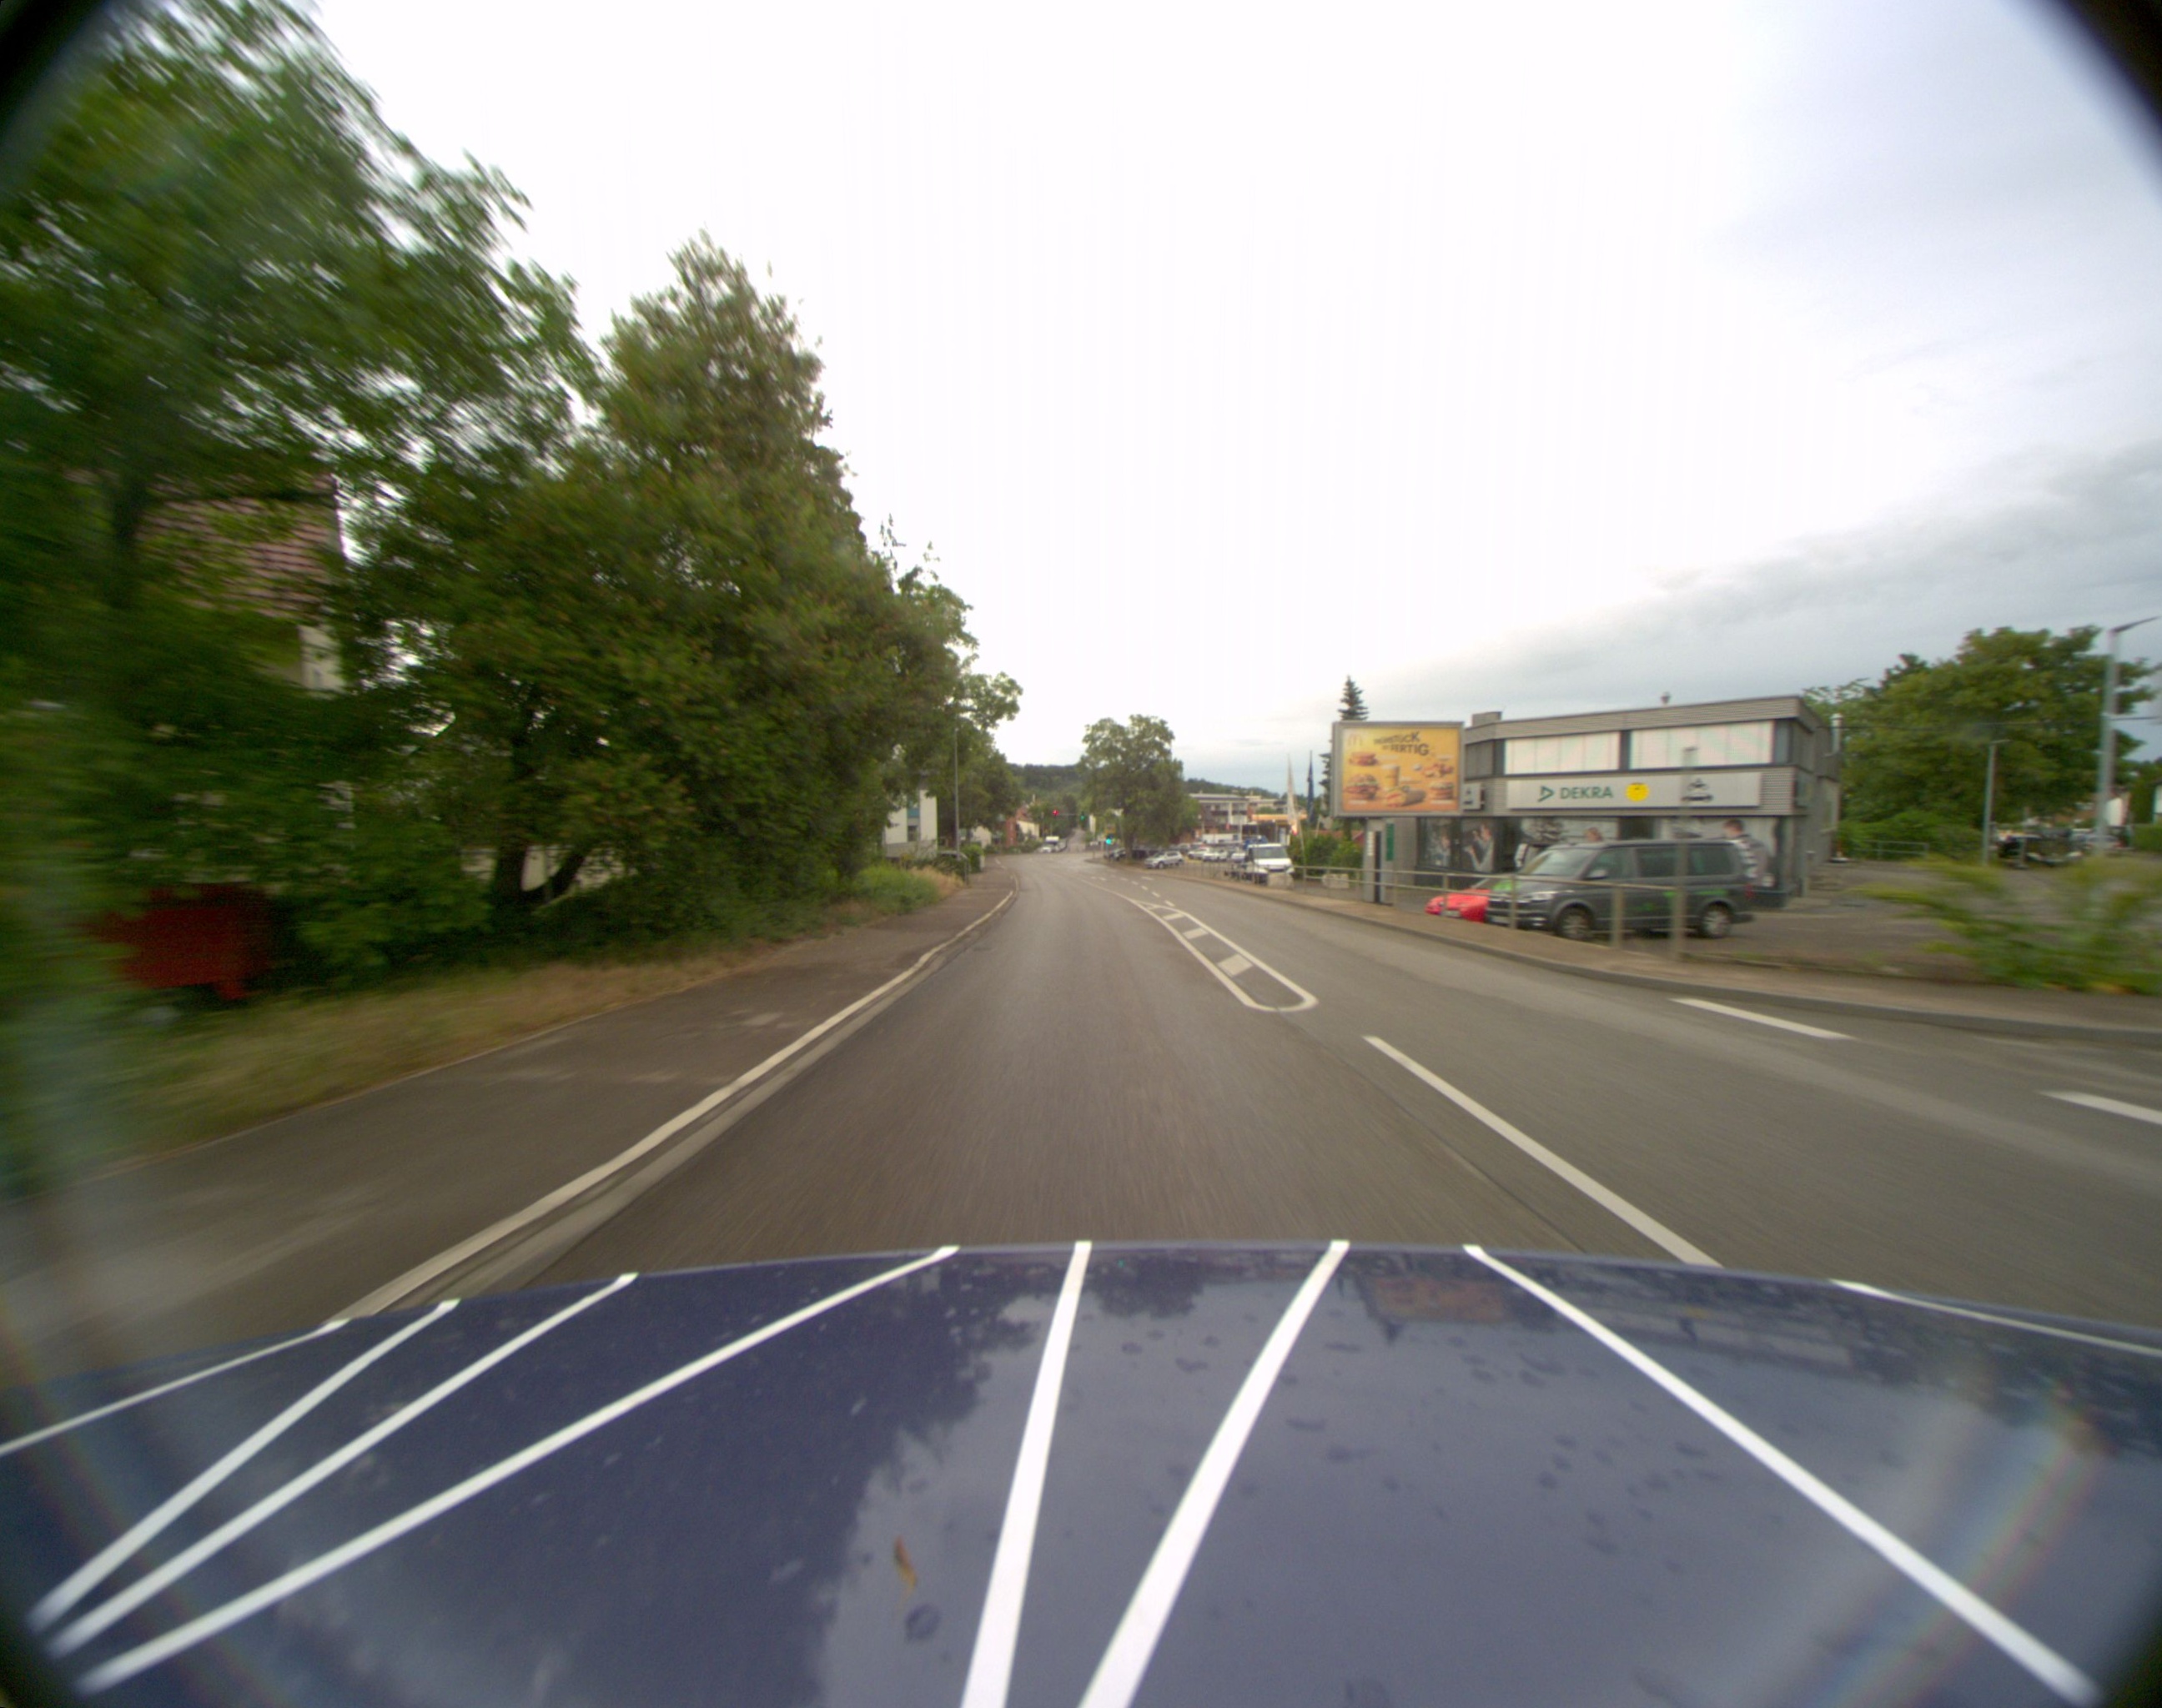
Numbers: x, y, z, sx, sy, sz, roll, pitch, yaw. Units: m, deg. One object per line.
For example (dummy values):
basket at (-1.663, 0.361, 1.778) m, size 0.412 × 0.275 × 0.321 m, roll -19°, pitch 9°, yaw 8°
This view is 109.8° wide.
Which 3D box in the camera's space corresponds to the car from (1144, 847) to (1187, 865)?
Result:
car at (8.142, 0.194, 73.396) m, size 4.015 × 1.561 × 1.716 m, roll -3°, pitch 2°, yaw -37°

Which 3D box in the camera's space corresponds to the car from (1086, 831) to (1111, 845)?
car at (2.963, -2.716, 130.034) m, size 1.774 × 2.094 × 4.370 m, roll -3°, pitch 6°, yaw -37°

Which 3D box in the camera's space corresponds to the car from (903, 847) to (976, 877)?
car at (-8.688, 0.462, 46.934) m, size 4.225 × 1.740 × 1.983 m, roll -1°, pitch 0°, yaw -4°

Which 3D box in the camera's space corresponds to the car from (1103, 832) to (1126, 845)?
car at (5.923, -2.740, 134.377) m, size 1.774 × 2.094 × 4.209 m, roll -3°, pitch 6°, yaw -39°

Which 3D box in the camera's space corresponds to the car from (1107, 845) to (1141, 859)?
car at (5.047, -0.207, 89.482) m, size 3.767 × 1.559 × 1.671 m, roll 0°, pitch 2°, yaw -2°

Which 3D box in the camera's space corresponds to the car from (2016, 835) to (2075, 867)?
car at (48.179, -0.179, 37.987) m, size 1.402 × 1.538 × 3.222 m, roll 0°, pitch 1°, yaw 44°

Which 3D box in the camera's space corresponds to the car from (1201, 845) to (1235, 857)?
car at (17.338, -0.383, 96.097) m, size 1.794 × 1.444 × 4.032 m, roll -2°, pitch 3°, yaw -39°

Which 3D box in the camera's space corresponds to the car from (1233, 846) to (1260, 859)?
car at (18.611, -0.209, 85.277) m, size 1.824 × 1.407 × 4.017 m, roll 1°, pitch 2°, yaw 31°

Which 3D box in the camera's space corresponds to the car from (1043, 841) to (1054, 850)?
car at (-5.534, -1.503, 129.397) m, size 1.770 × 1.460 × 3.997 m, roll 0°, pitch 2°, yaw -3°

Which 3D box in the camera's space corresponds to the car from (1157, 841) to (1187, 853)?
car at (12.552, -0.947, 104.926) m, size 3.763 × 1.542 × 1.596 m, roll 2°, pitch 3°, yaw 42°

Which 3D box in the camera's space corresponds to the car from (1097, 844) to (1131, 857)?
car at (4.131, -0.482, 94.486) m, size 4.154 × 1.502 × 1.672 m, roll 0°, pitch 3°, yaw 8°

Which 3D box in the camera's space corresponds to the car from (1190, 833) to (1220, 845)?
car at (21.471, -2.621, 131.021) m, size 5.266 × 2.075 × 2.047 m, roll 0°, pitch 2°, yaw -38°

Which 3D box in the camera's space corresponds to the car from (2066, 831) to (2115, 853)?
car at (68.722, -0.830, 51.763) m, size 1.506 × 1.451 × 3.443 m, roll 0°, pitch 1°, yaw 44°

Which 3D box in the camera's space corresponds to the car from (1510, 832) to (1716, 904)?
car at (16.280, 0.374, 23.481) m, size 2.004 × 1.976 × 4.863 m, roll -2°, pitch 1°, yaw -39°

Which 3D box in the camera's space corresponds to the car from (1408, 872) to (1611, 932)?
car at (10.347, 1.112, 18.466) m, size 4.106 × 1.260 × 1.768 m, roll 0°, pitch 1°, yaw -11°

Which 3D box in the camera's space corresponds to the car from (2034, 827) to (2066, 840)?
car at (88.057, -1.838, 69.082) m, size 1.377 × 1.181 × 3.069 m, roll 0°, pitch 1°, yaw 44°

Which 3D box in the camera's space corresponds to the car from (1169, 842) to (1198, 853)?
car at (14.391, -0.922, 106.937) m, size 3.763 × 1.542 × 1.596 m, roll 2°, pitch 3°, yaw 42°

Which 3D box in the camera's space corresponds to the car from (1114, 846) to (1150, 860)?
car at (5.777, -0.121, 86.955) m, size 3.895 × 1.559 × 1.671 m, roll 0°, pitch 2°, yaw -5°

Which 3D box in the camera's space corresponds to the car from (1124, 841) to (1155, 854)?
car at (7.769, -0.882, 101.070) m, size 3.763 × 1.542 × 1.596 m, roll 2°, pitch 3°, yaw 40°

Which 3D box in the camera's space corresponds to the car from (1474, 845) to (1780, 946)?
car at (10.872, 0.758, 15.306) m, size 5.083 × 1.860 × 1.821 m, roll 0°, pitch 1°, yaw -7°

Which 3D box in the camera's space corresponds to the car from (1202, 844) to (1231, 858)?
car at (15.644, -0.381, 87.349) m, size 1.785 × 1.501 × 4.051 m, roll 1°, pitch 2°, yaw 34°

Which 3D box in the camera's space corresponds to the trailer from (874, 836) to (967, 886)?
trailer at (-8.377, 0.321, 39.752) m, size 4.551 × 2.387 × 1.946 m, roll -2°, pitch 2°, yaw -13°

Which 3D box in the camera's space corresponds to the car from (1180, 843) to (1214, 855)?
car at (14.538, -0.635, 95.376) m, size 1.794 × 1.444 × 4.032 m, roll -2°, pitch 3°, yaw -39°

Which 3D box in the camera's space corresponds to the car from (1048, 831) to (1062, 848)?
car at (-4.936, -2.832, 145.958) m, size 2.575 × 2.759 × 6.123 m, roll 1°, pitch 5°, yaw 0°

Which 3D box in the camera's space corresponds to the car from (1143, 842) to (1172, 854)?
car at (10.380, -0.763, 102.998) m, size 3.763 × 1.542 × 1.596 m, roll 2°, pitch 3°, yaw 42°

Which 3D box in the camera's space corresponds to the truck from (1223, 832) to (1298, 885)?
truck at (9.570, 0.169, 41.354) m, size 1.999 × 2.618 × 7.889 m, roll 0°, pitch 1°, yaw -1°

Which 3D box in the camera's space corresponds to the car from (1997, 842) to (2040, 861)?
car at (59.732, -0.168, 48.430) m, size 1.377 × 1.181 × 3.069 m, roll 0°, pitch 1°, yaw 44°

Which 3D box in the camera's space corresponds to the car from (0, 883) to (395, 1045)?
car at (-9.713, 1.073, 8.168) m, size 3.156 × 1.376 × 1.690 m, roll -1°, pitch 1°, yaw -30°
